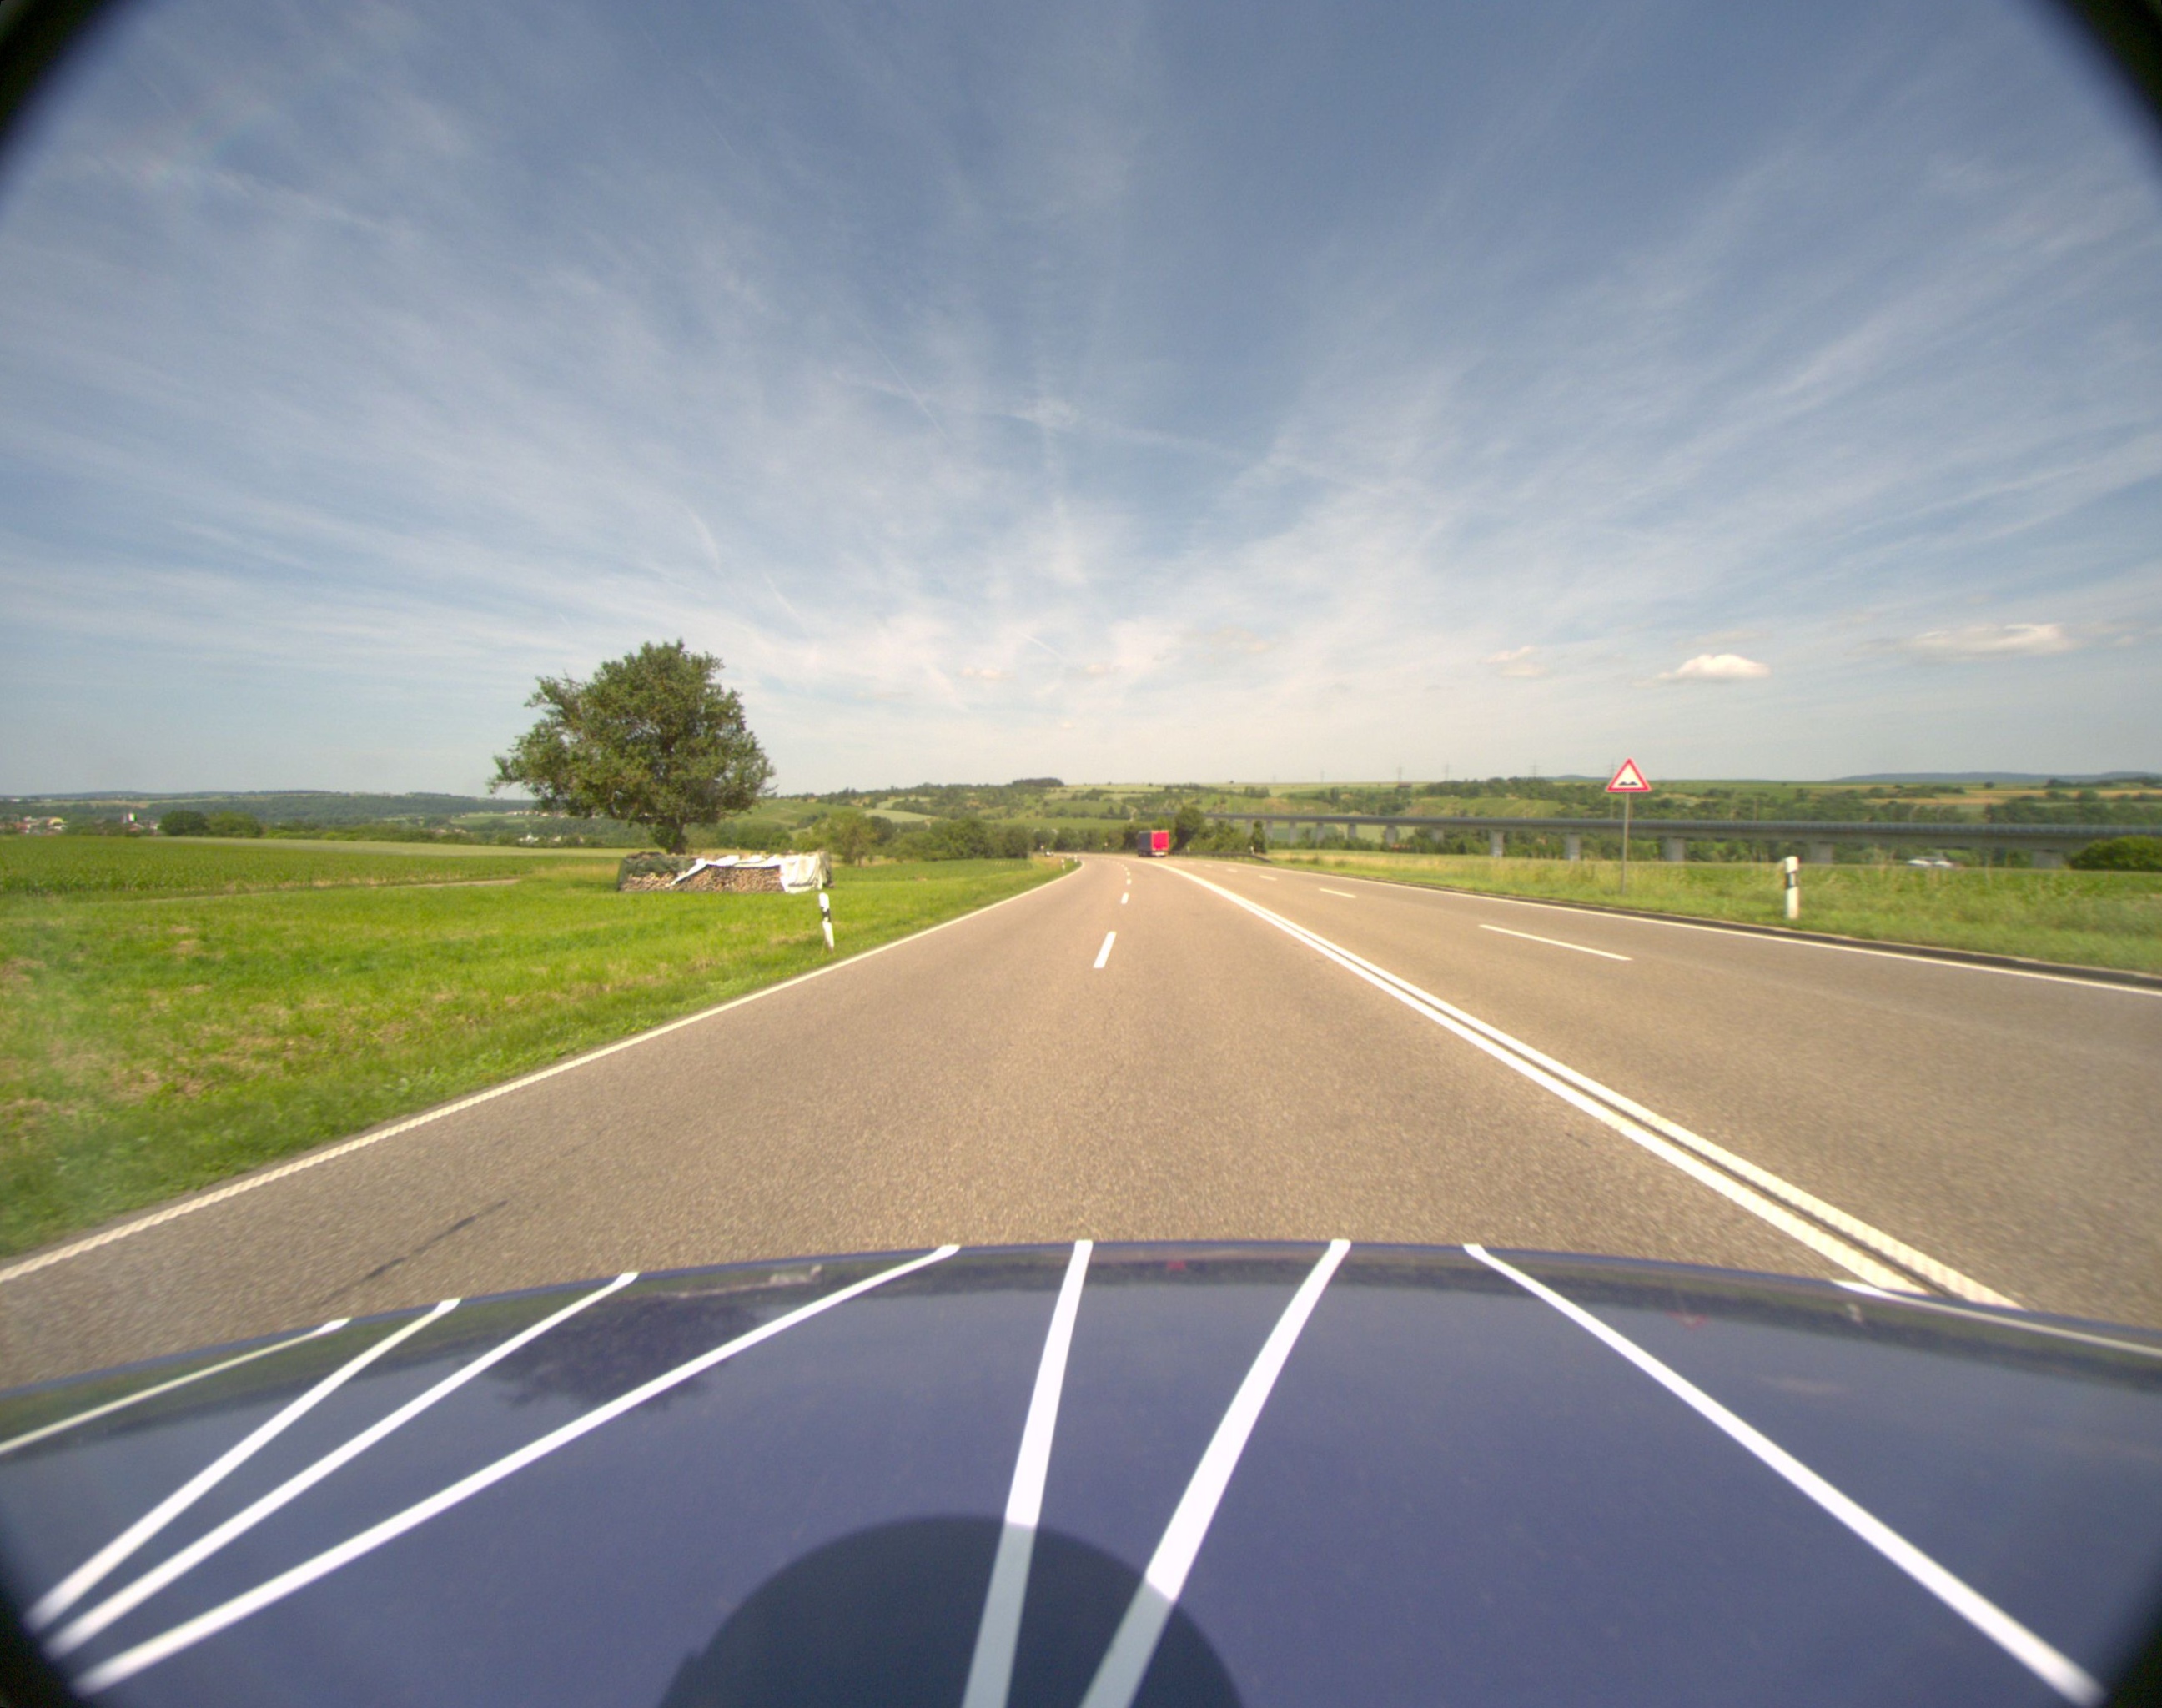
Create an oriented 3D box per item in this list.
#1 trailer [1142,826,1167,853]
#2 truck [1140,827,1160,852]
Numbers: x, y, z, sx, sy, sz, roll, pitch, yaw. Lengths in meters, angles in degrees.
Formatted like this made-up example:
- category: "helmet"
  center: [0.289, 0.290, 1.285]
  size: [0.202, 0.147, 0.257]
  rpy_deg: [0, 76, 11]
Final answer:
- category: "trailer"
  center: [11.548, -2.231, 120.353]
  size: [2.552, 4.078, 13.579]
  rpy_deg: [-1, 1, -1]
- category: "truck"
  center: [11.494, -2.360, 127.201]
  size: [2.623, 4.078, 6.087]
  rpy_deg: [-1, 1, 0]
